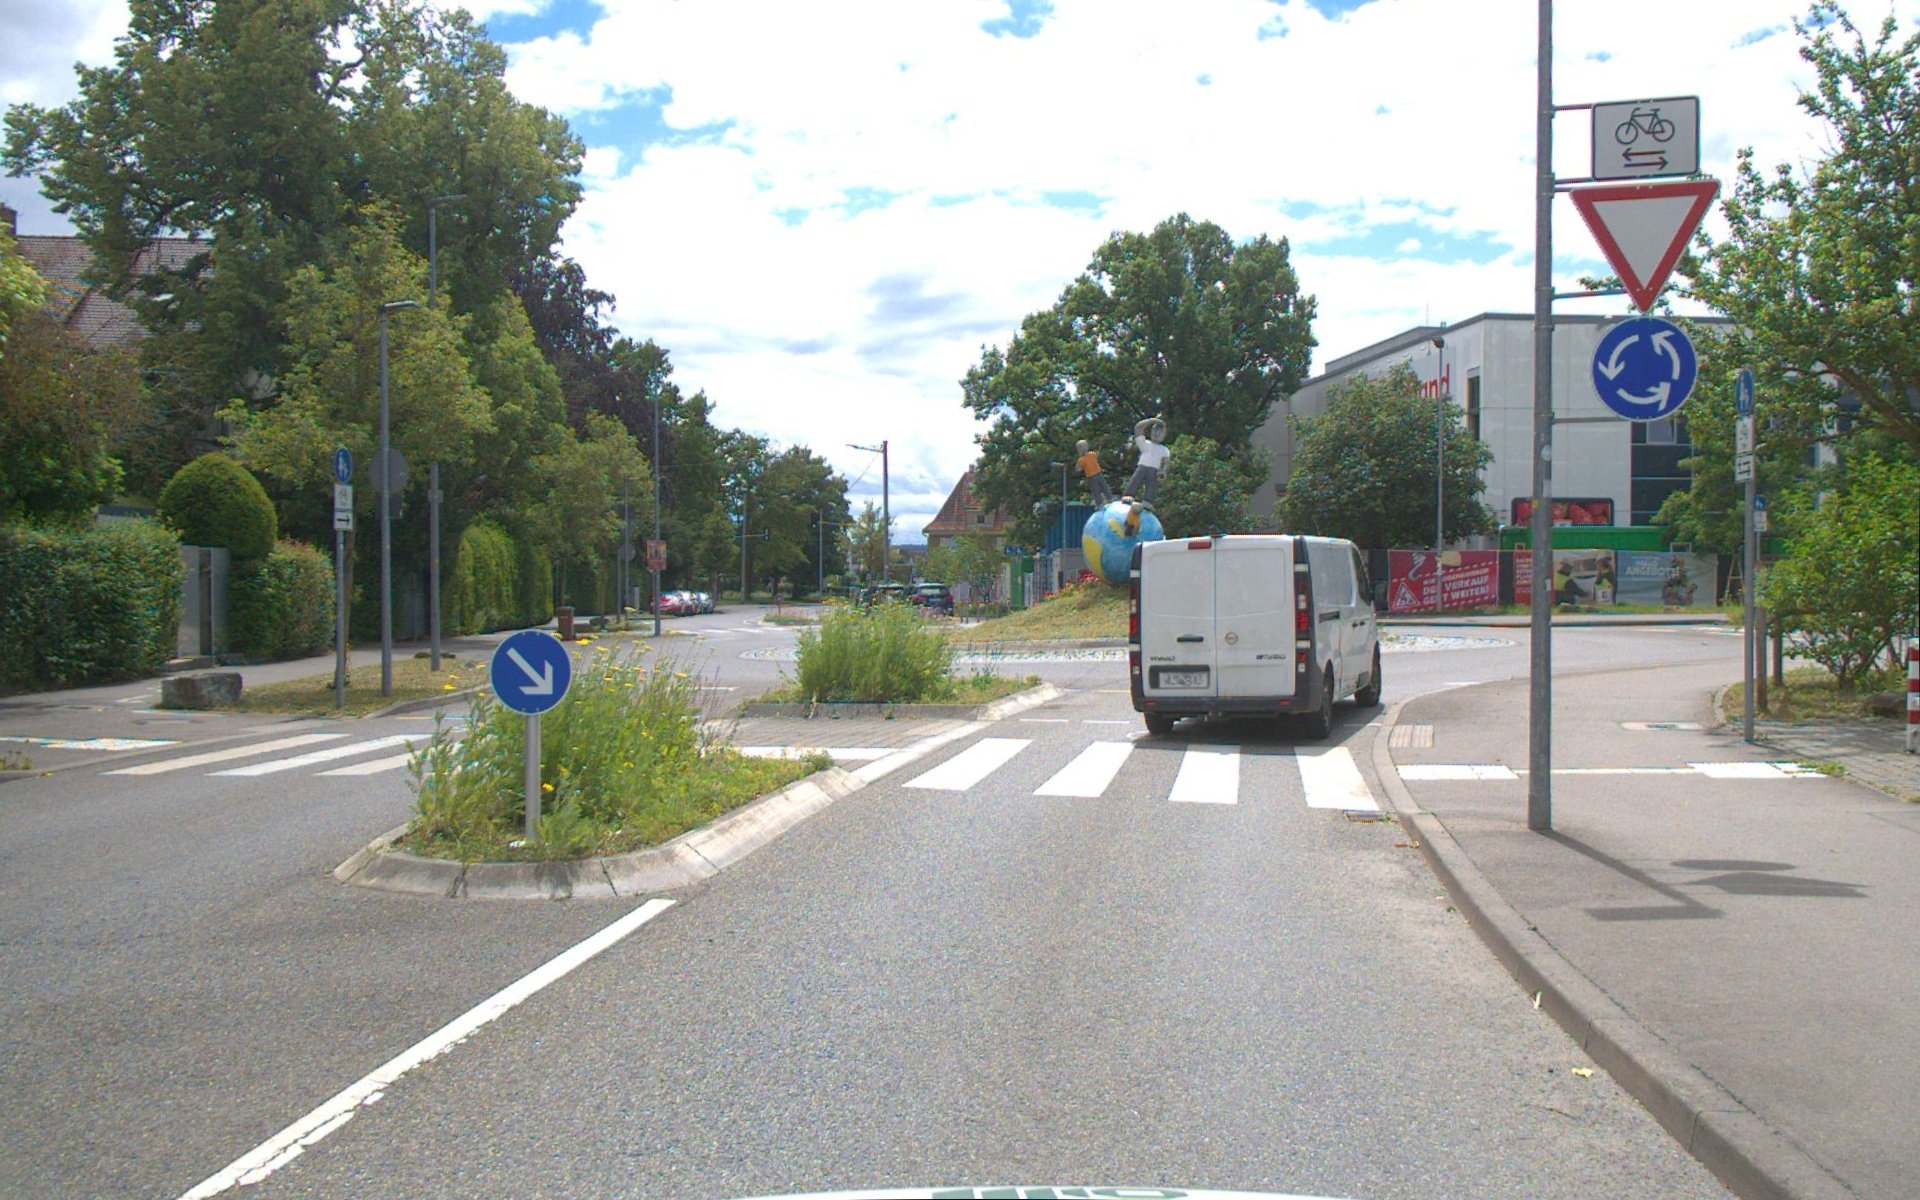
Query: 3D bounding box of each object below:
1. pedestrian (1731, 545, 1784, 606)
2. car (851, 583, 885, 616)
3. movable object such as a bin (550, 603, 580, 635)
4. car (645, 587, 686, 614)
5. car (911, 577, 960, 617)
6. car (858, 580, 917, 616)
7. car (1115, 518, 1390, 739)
[{"bbox_3d":[20.829,-0.638,43.199,1.018,1.568,0.890,2,1,41],"label":"pedestrian"},{"bbox_3d":[-5.266,-0.057,94.410,1.860,1.775,3.923,0,2,-4],"label":"car"},{"bbox_3d":[-11.098,0.537,46.524,0.616,0.878,0.640,-2,1,5],"label":"movable object such as a bin"},{"bbox_3d":[-16.653,-0.004,93.420,2.028,1.410,4.033,0,2,-14],"label":"car"},{"bbox_3d":[-1.052,-0.147,68.637,1.894,1.564,3.923,0,2,-3],"label":"car"},{"bbox_3d":[-3.360,-0.111,76.320,1.888,1.526,3.908,0,2,-16],"label":"car"},{"bbox_3d":[3.313,0.222,17.802,1.993,1.979,4.994,2,1,21],"label":"car"}]
